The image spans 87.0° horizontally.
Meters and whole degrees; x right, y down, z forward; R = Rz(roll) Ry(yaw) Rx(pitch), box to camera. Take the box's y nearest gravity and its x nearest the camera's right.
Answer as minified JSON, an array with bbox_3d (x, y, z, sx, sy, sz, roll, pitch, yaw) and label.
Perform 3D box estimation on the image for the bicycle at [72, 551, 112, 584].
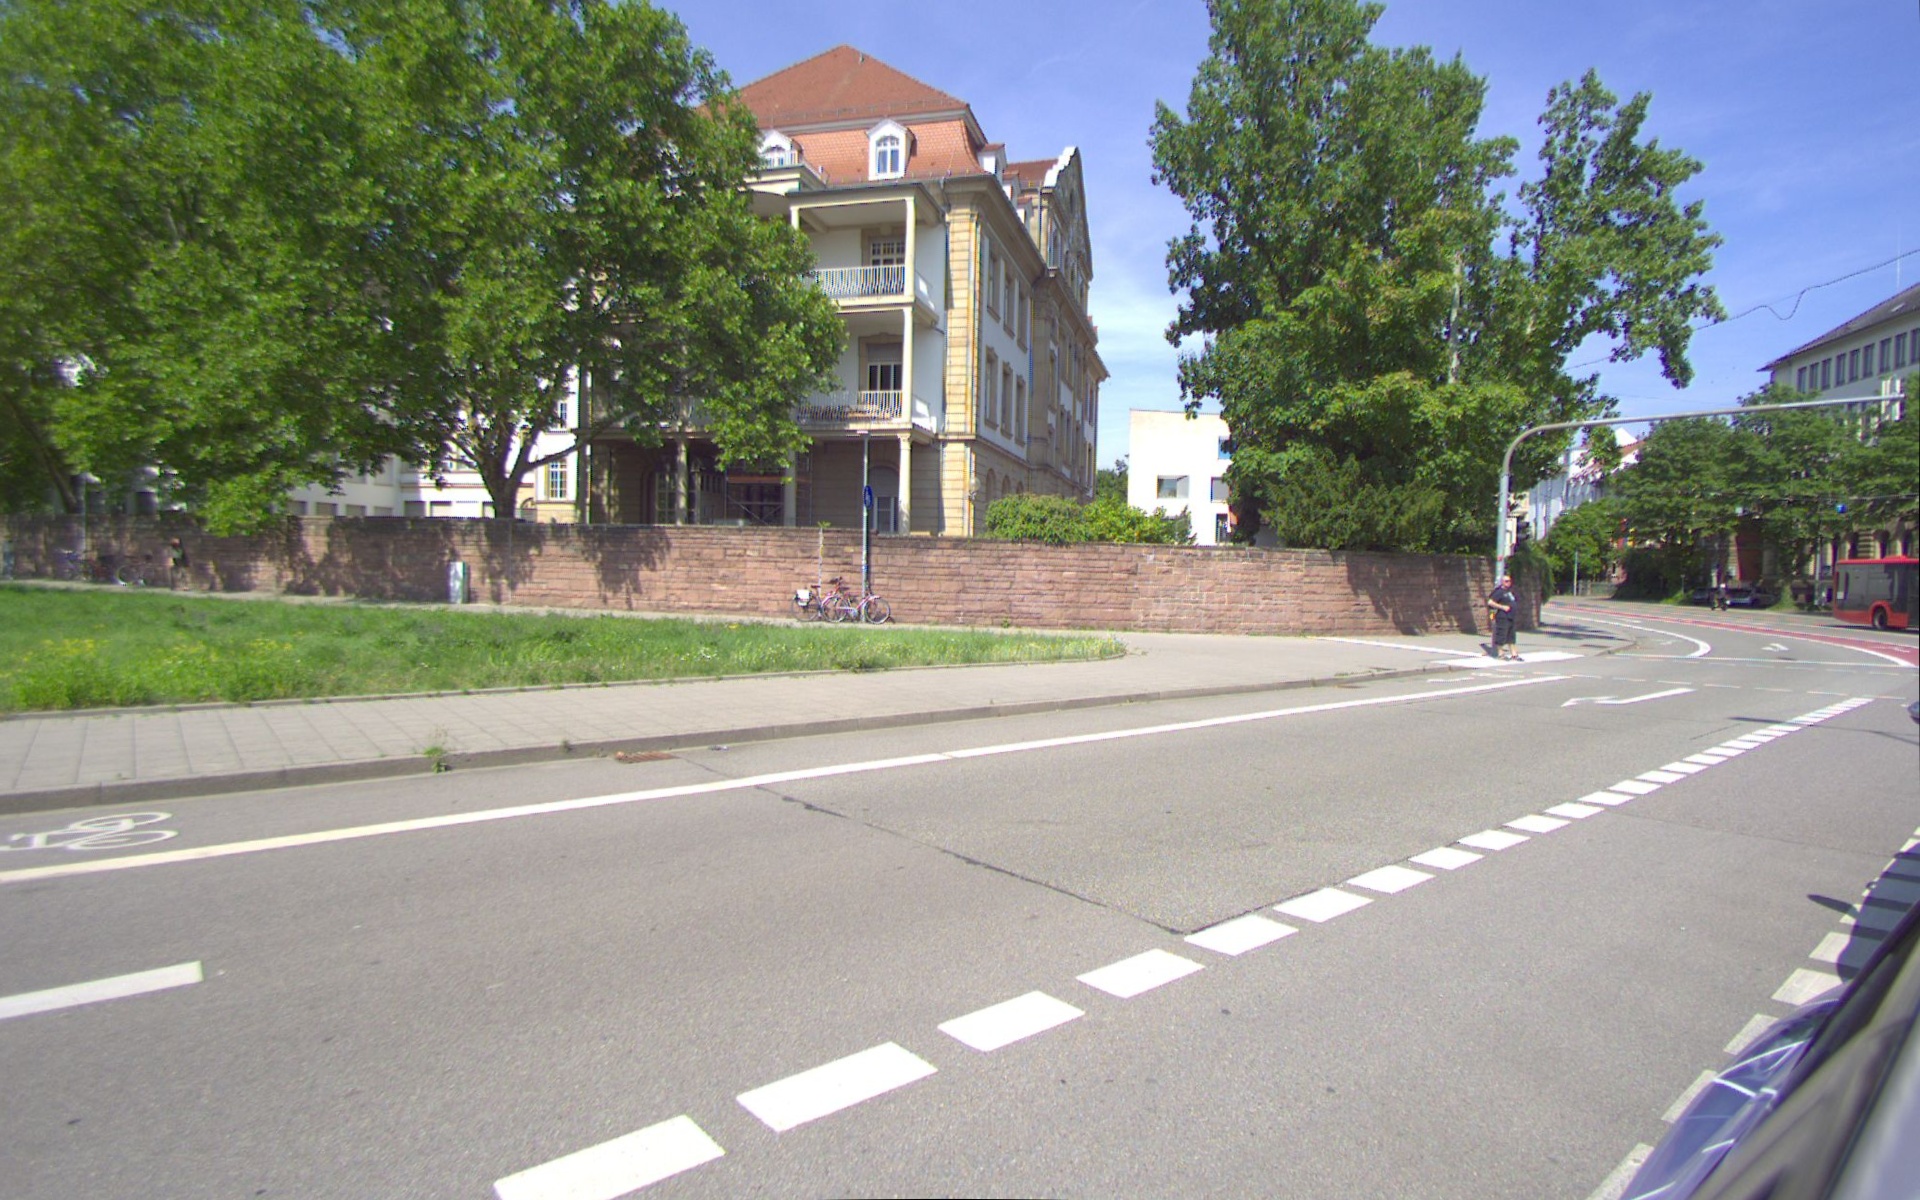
[{"bbox_3d":[-28.922,-1.098,33.706,1.432,1.046,0.444,3,2,24],"label":"bicycle"}]

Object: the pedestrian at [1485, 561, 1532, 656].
[{"bbox_3d":[12.106,0.169,22.344,0.790,2.038,0.608,2,1,35],"label":"pedestrian"}]

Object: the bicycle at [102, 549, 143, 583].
[{"bbox_3d":[-27.297,-1.106,33.000,1.432,1.046,0.444,3,2,24],"label":"bicycle"}]

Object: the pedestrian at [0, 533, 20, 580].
[{"bbox_3d":[-32.977,-1.508,35.083,0.700,1.597,0.516,3,3,41],"label":"pedestrian"}]

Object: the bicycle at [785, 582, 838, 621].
[{"bbox_3d":[-3.609,0.037,24.626,1.202,0.894,0.395,1,2,-21],"label":"bicycle"}]

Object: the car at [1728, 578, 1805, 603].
[{"bbox_3d":[59.551,-0.716,74.816,3.941,1.682,1.993,0,3,14],"label":"car"}]

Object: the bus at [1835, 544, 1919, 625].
[{"bbox_3d":[38.207,-0.591,37.681,3.086,3.133,12.363,0,1,13],"label":"bus"}]

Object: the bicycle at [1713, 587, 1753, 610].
[{"bbox_3d":[49.463,-0.100,64.797,0.819,1.420,3.452,0,0,16],"label":"bicycle"}]

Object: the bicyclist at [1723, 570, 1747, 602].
[{"bbox_3d":[49.366,-0.899,64.472,0.847,2.039,1.230,0,0,16],"label":"bicyclist"}]

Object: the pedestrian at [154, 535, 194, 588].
[{"bbox_3d":[-23.810,-1.171,30.659,0.900,1.567,0.501,2,2,13],"label":"pedestrian"}]

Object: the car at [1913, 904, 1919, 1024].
[{"bbox_3d":[5.332,0.655,3.991,4.077,1.605,1.688,0,3,-39],"label":"car"}]

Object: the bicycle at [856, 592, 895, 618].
[{"bbox_3d":[-2.091,0.125,25.032,0.929,0.609,0.275,2,2,-2],"label":"bicycle"}]
